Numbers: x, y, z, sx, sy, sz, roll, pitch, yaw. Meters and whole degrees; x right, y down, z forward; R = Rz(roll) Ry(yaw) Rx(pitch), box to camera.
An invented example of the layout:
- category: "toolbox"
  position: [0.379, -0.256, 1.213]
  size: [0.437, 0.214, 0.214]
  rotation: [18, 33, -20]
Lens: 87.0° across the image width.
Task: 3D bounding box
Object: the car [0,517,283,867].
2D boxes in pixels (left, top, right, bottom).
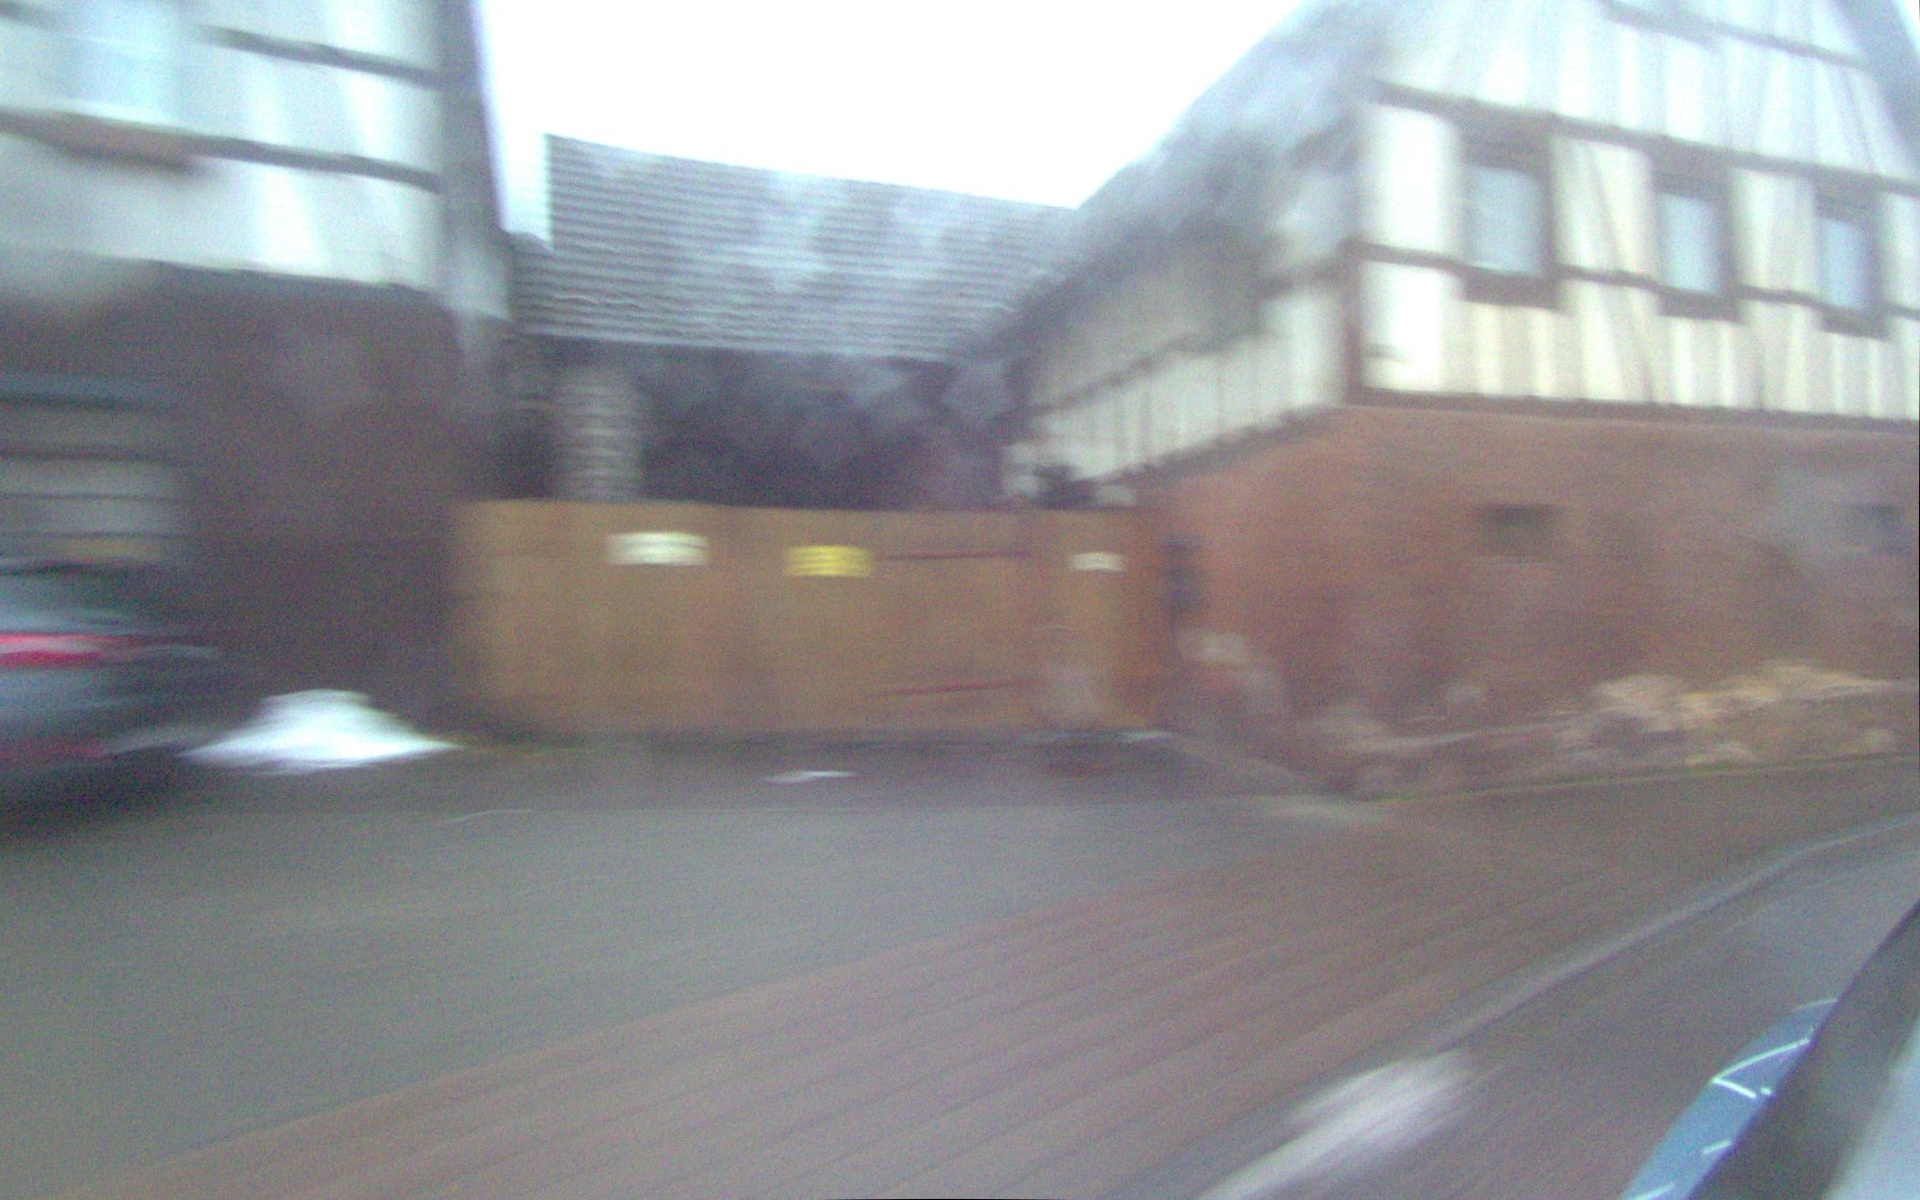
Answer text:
- category: "car"
  position: [-5.995, 0.292, 5.152]
  size: [3.904, 1.534, 1.600]
  rotation: [3, 2, -6]
